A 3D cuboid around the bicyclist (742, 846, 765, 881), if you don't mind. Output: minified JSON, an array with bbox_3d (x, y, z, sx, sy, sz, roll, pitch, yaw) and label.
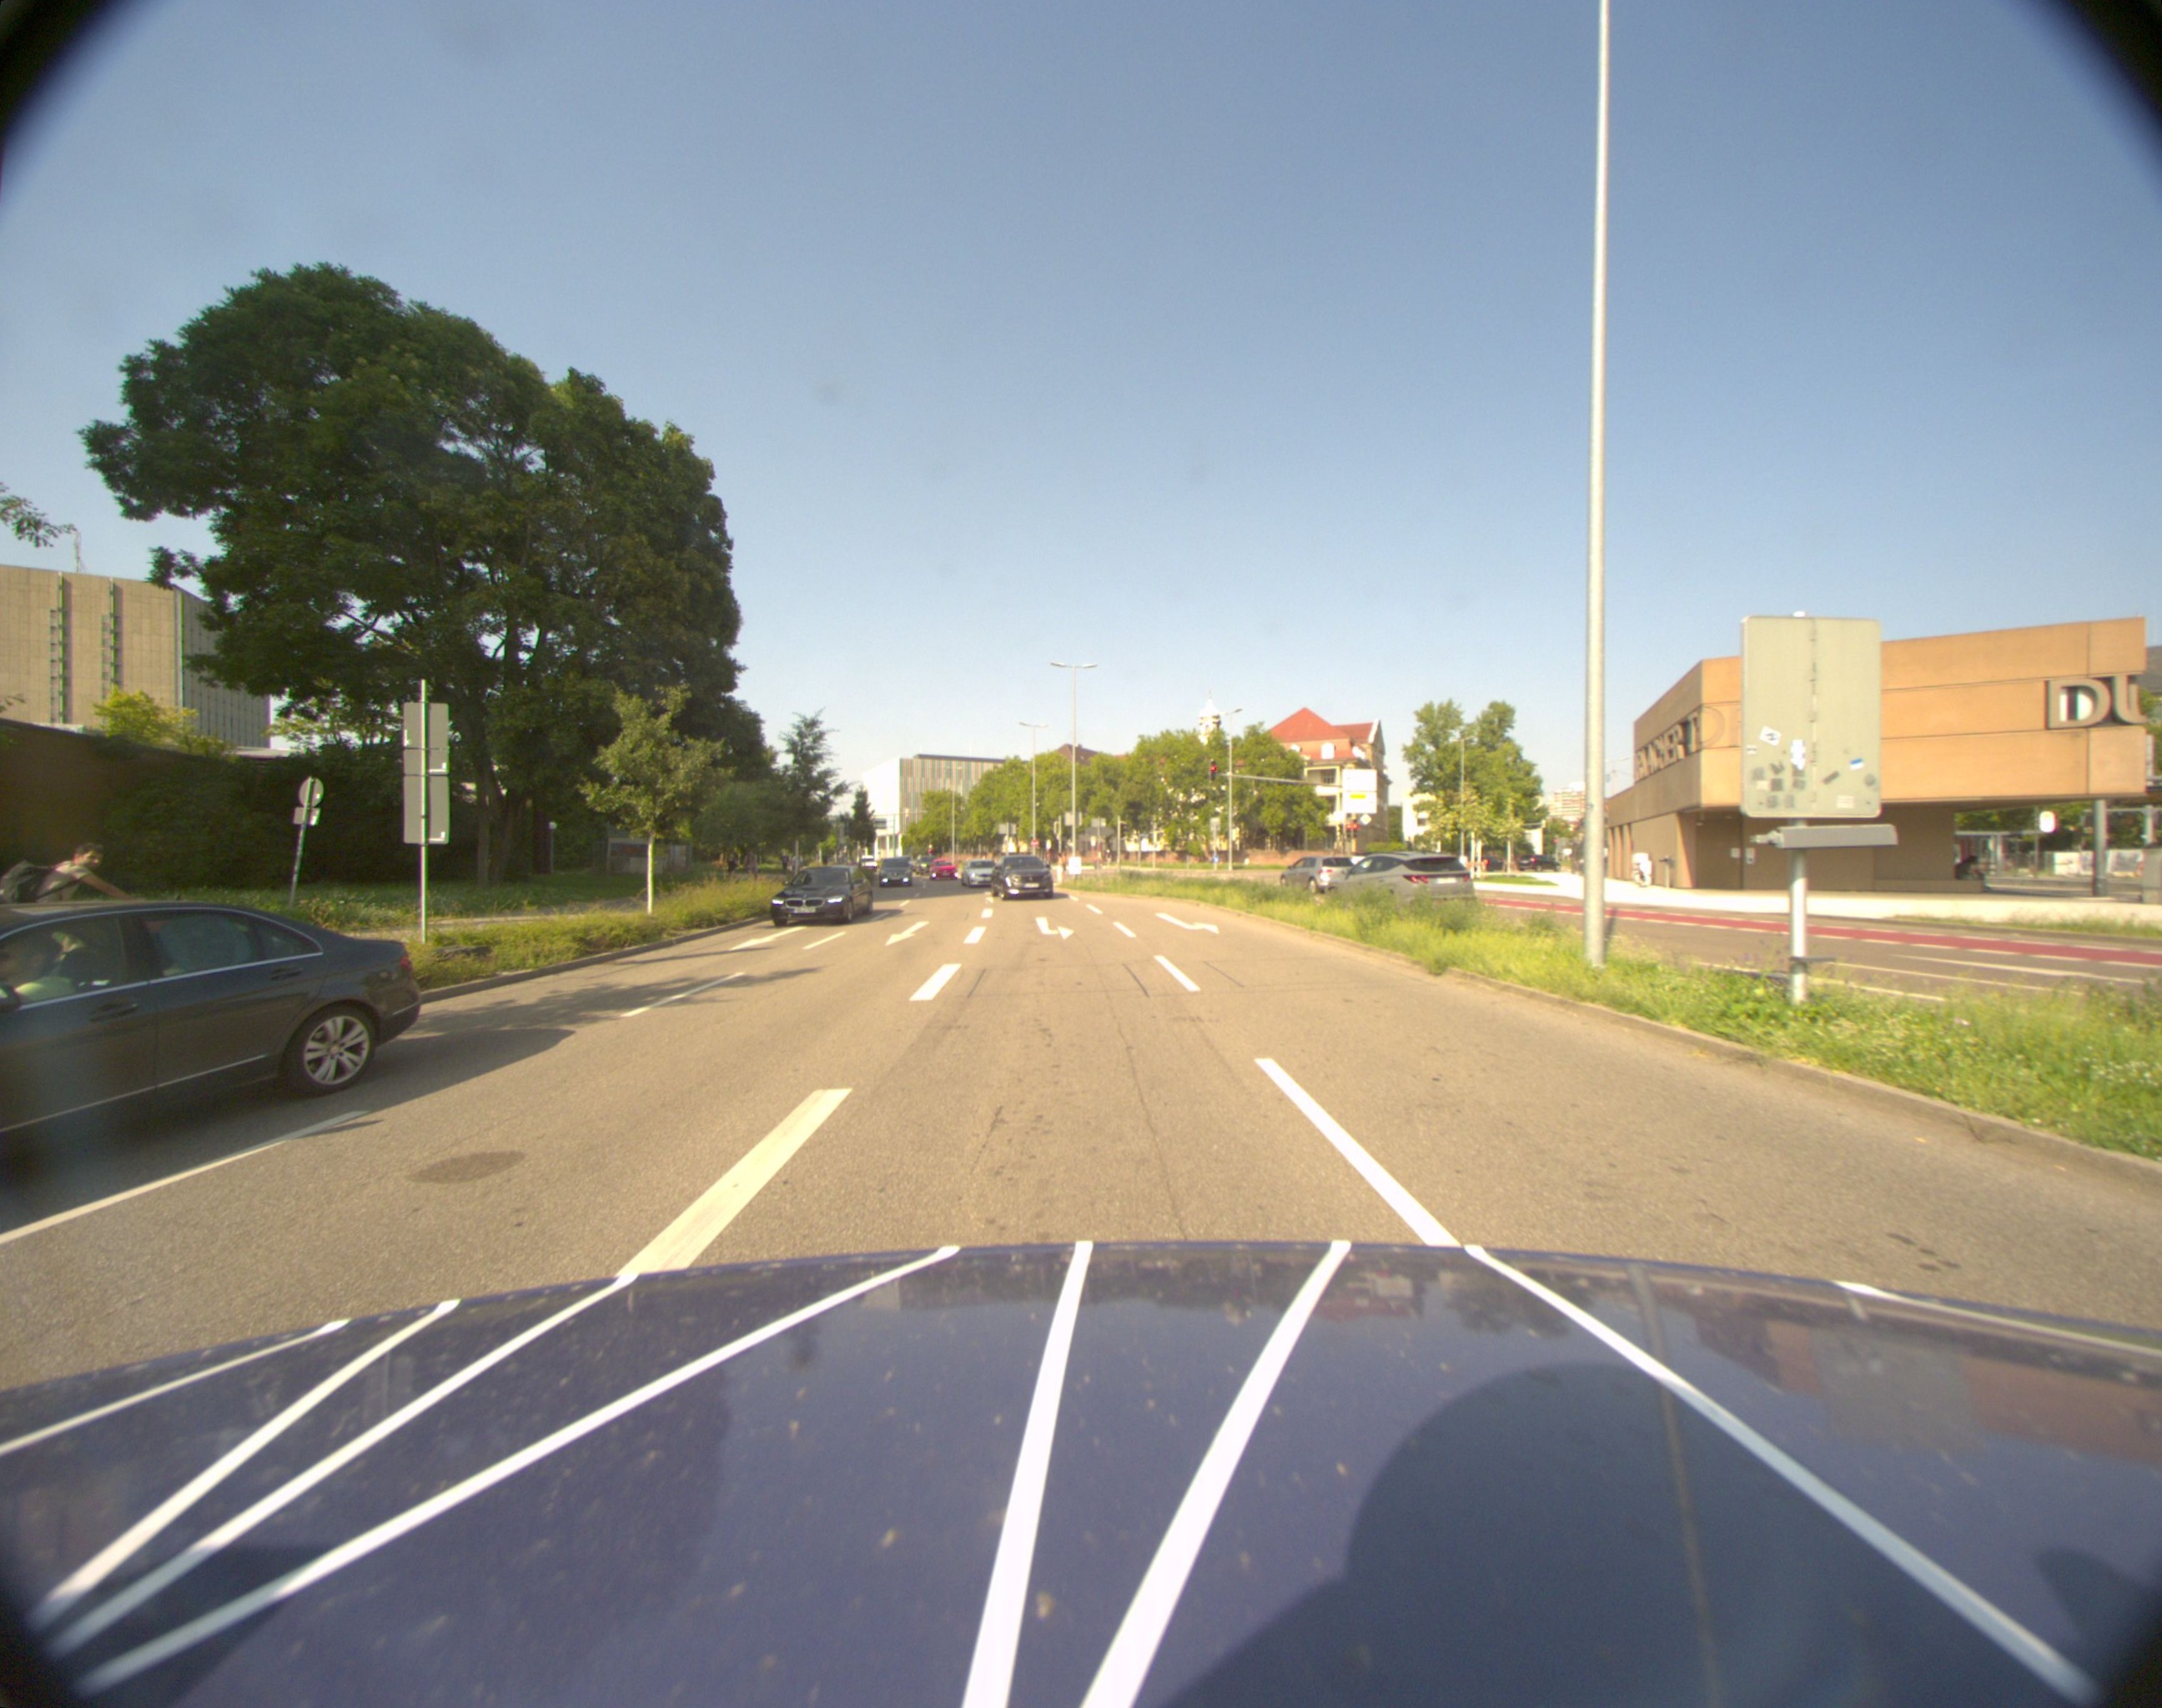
[{"bbox_3d":[-15.031,0.419,34.888,0.774,1.584,0.923,-1,1,-11],"label":"bicyclist"}]

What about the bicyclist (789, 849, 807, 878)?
[{"bbox_3d":[-15.632,0.525,41.958,0.774,1.583,0.923,0,0,-10],"label":"bicyclist"}]

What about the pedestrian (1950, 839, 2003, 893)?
[{"bbox_3d":[28.979,0.380,24.600,0.864,1.695,0.733,0,1,25],"label":"pedestrian"}]

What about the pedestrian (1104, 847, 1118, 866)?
[{"bbox_3d":[3.305,0.248,82.837,1.080,2.002,1.316,-1,1,-19],"label":"pedestrian"}]

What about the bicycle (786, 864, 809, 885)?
[{"bbox_3d":[-15.607,1.129,41.839,0.774,1.111,2.301,0,0,-10],"label":"bicycle"}]

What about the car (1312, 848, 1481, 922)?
[{"bbox_3d":[7.612,0.661,18.860,1.700,1.608,4.457,0,0,-11],"label":"car"}]

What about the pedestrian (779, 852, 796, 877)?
[{"bbox_3d":[-21.358,0.741,55.299,0.961,1.772,1.001,2,0,-13],"label":"pedestrian"}]

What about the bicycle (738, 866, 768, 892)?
[{"bbox_3d":[-15.019,1.120,34.859,0.774,1.111,2.301,-1,0,-11],"label":"bicycle"}]

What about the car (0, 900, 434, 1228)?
[{"bbox_3d":[-6.067,1.100,3.967,1.687,1.434,4.372,-1,0,-1],"label":"car"}]

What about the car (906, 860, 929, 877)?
[{"bbox_3d":[-17.212,1.529,79.996,1.785,1.710,4.527,-3,-1,-19],"label":"car"}]

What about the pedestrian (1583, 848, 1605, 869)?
[{"bbox_3d":[48.039,0.402,71.135,1.345,2.002,1.210,0,0,-22],"label":"pedestrian"}]

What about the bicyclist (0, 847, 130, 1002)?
[{"bbox_3d":[-10.822,0.685,7.838,0.721,1.504,1.004,0,1,1],"label":"bicyclist"}]

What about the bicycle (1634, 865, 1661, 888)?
[{"bbox_3d":[21.833,0.846,29.304,0.591,0.833,1.550,-3,-2,30],"label":"bicycle"}]

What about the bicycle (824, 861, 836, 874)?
[{"bbox_3d":[-22.320,1.189,67.495,0.774,1.111,2.299,-1,0,-24],"label":"bicycle"}]

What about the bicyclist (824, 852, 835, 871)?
[{"bbox_3d":[-22.318,0.699,67.483,0.774,1.666,0.922,-1,1,-24],"label":"bicyclist"}]

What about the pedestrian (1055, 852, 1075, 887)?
[{"bbox_3d":[-0.757,0.750,36.773,0.667,1.644,0.780,0,0,26],"label":"pedestrian"}]

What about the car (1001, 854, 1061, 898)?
[{"bbox_3d":[-1.947,0.768,28.436,1.688,1.483,4.367,0,0,-11],"label":"car"}]

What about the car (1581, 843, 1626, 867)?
[{"bbox_3d":[58.962,0.088,85.719,5.560,2.437,1.995,-3,1,-31],"label":"car"}]

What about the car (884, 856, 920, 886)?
[{"bbox_3d":[-10.171,0.906,43.007,1.785,1.596,4.415,0,0,-16],"label":"car"}]

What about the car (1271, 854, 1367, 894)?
[{"bbox_3d":[9.184,0.725,29.719,1.820,1.425,4.220,0,0,-10],"label":"car"}]

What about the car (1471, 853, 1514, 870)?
[{"bbox_3d":[37.228,0.682,68.740,3.856,1.489,1.622,-1,1,-29],"label":"car"}]

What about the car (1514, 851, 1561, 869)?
[{"bbox_3d":[43.408,0.550,72.202,4.380,1.623,1.995,0,0,-31],"label":"car"}]

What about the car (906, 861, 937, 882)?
[{"bbox_3d":[-12.734,1.393,60.640,1.942,1.597,4.527,-1,-1,-18],"label":"car"}]

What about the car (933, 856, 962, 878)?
[{"bbox_3d":[-9.427,0.891,53.343,1.689,1.483,4.366,0,0,-15],"label":"car"}]

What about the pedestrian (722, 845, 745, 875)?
[{"bbox_3d":[-17.011,0.305,37.245,0.727,1.435,0.857,0,1,-2],"label":"pedestrian"}]

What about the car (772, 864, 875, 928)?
[{"bbox_3d":[-6.784,1.033,20.491,1.688,1.483,4.670,0,0,-7],"label":"car"}]

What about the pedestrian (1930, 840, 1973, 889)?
[{"bbox_3d":[31.058,0.365,27.114,0.717,1.727,0.858,0,1,27],"label":"pedestrian"}]

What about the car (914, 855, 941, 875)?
[{"bbox_3d":[-13.634,0.956,67.443,1.785,1.683,4.526,0,0,-18],"label":"car"}]

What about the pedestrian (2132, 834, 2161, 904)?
[{"bbox_3d":[27.662,0.368,19.179,0.988,1.760,0.866,0,1,10],"label":"pedestrian"}]

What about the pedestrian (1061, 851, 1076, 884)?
[{"bbox_3d":[-0.631,0.699,39.214,0.669,1.689,0.691,0,0,-11],"label":"pedestrian"}]

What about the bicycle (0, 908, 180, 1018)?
[{"bbox_3d":[-10.816,1.106,7.836,0.721,0.954,1.921,0,0,1],"label":"bicycle"}]

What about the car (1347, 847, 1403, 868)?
[{"bbox_3d":[23.991,0.272,61.982,4.379,1.624,1.995,0,0,-30],"label":"car"}]

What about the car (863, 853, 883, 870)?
[{"bbox_3d":[-23.702,0.811,86.342,1.690,1.930,4.364,0,0,-22],"label":"car"}]

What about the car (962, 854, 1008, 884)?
[{"bbox_3d":[-5.120,0.753,39.971,1.785,1.474,4.527,0,0,-16],"label":"car"}]
